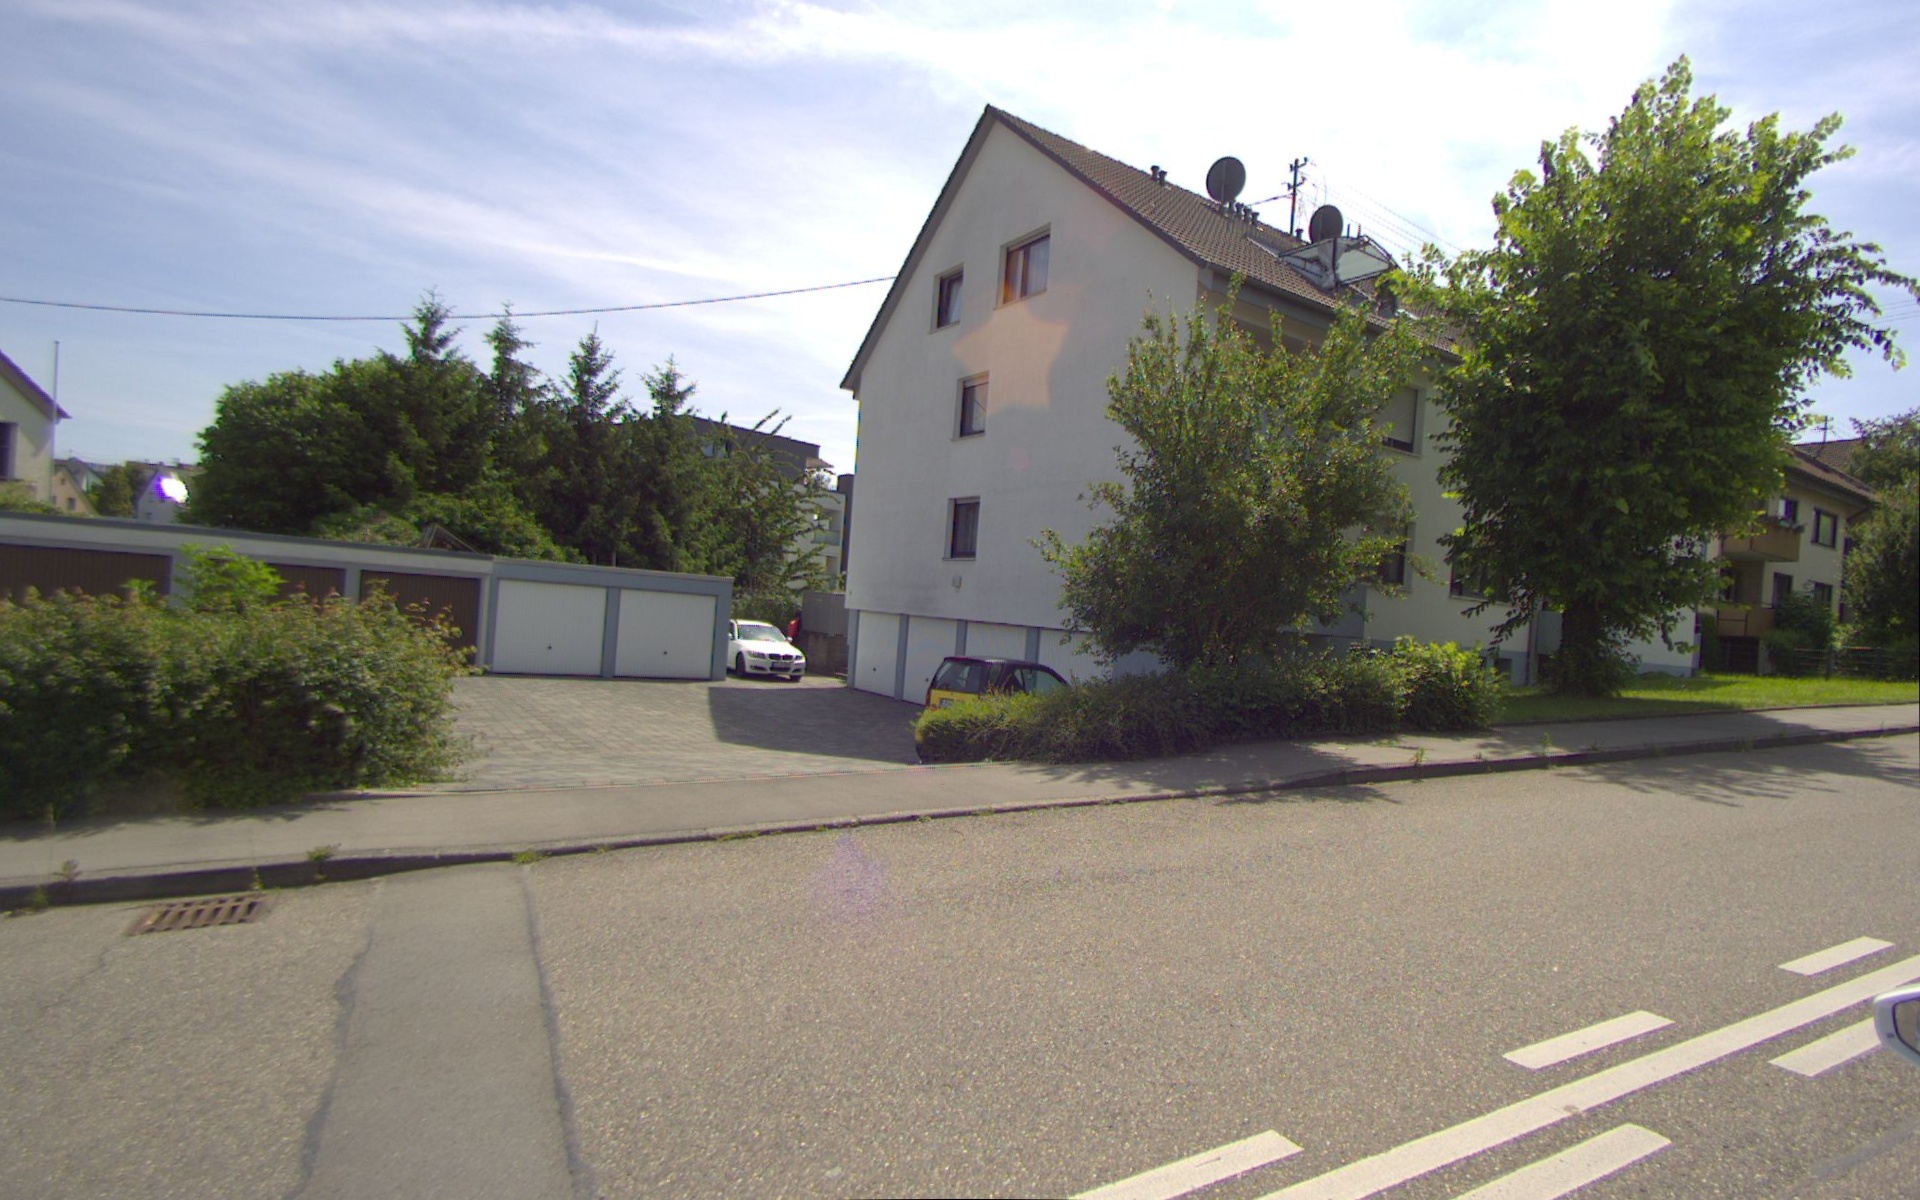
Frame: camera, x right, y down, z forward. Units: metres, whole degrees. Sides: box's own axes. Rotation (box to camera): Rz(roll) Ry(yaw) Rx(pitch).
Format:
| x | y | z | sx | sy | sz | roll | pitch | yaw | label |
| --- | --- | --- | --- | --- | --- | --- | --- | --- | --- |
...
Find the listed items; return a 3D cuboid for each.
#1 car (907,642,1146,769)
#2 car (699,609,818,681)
| x | y | z | sx | sy | sz | roll | pitch | yaw | label |
| --- | --- | --- | --- | --- | --- | --- | --- | --- | --- |
| 1.003 | 1.484 | 14.396 | 3.205 | 1.560 | 1.460 | 5 | -2 | -38 | car |
| -5.648 | 1.199 | 27.763 | 1.976 | 1.483 | 4.247 | 6 | 0 | -28 | car |
